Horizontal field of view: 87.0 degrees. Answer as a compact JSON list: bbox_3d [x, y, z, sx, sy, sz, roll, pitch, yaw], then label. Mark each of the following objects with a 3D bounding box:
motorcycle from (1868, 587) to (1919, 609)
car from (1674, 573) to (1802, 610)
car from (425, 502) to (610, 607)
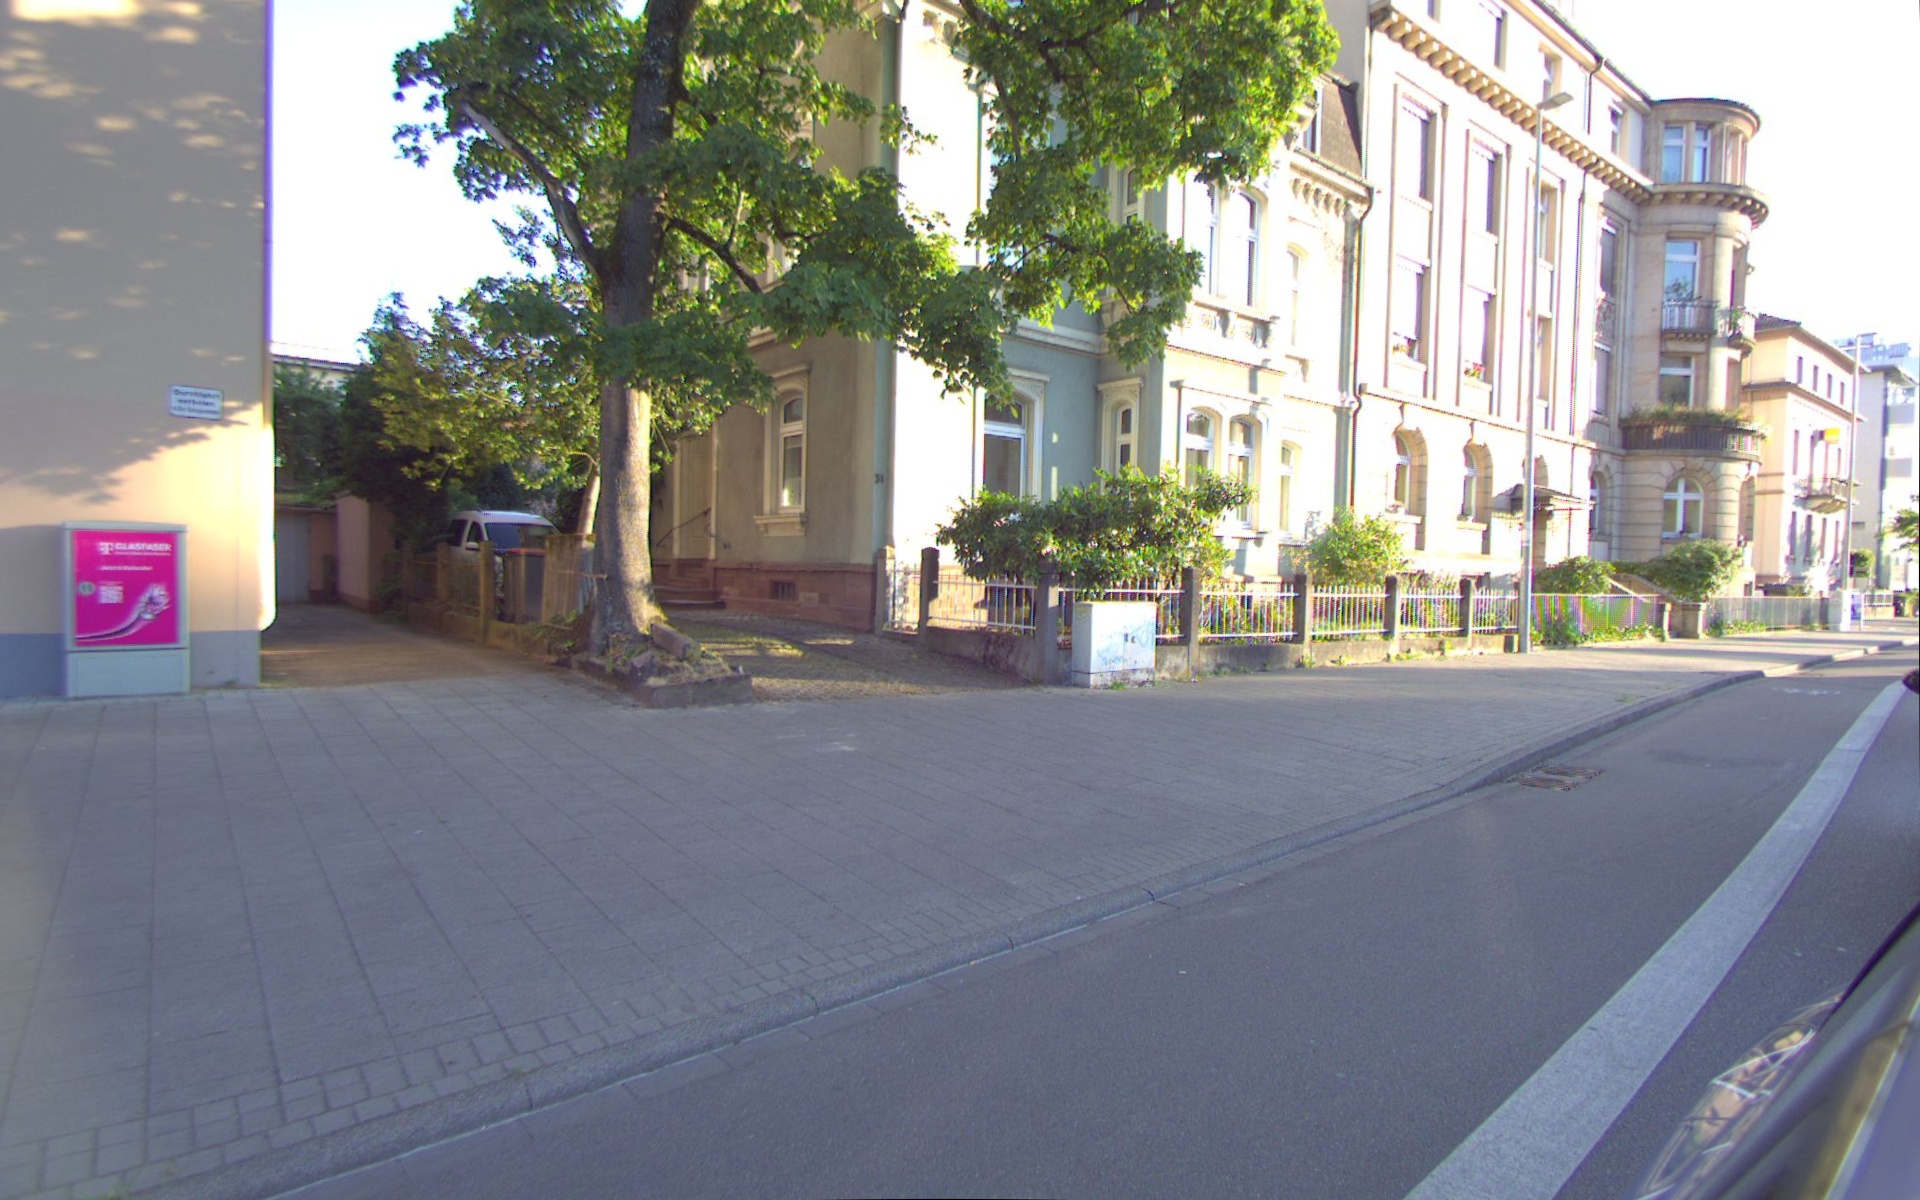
[{"bbox_3d":[48.295,-0.116,52.352,0.564,1.110,1.851,0,1,-33],"label":"motorcycle"},{"bbox_3d":[34.038,-0.411,44.344,1.903,1.499,4.098,0,2,-38],"label":"car"},{"bbox_3d":[-8.656,-0.926,19.583,1.795,1.778,4.513,1,3,-44],"label":"car"}]
